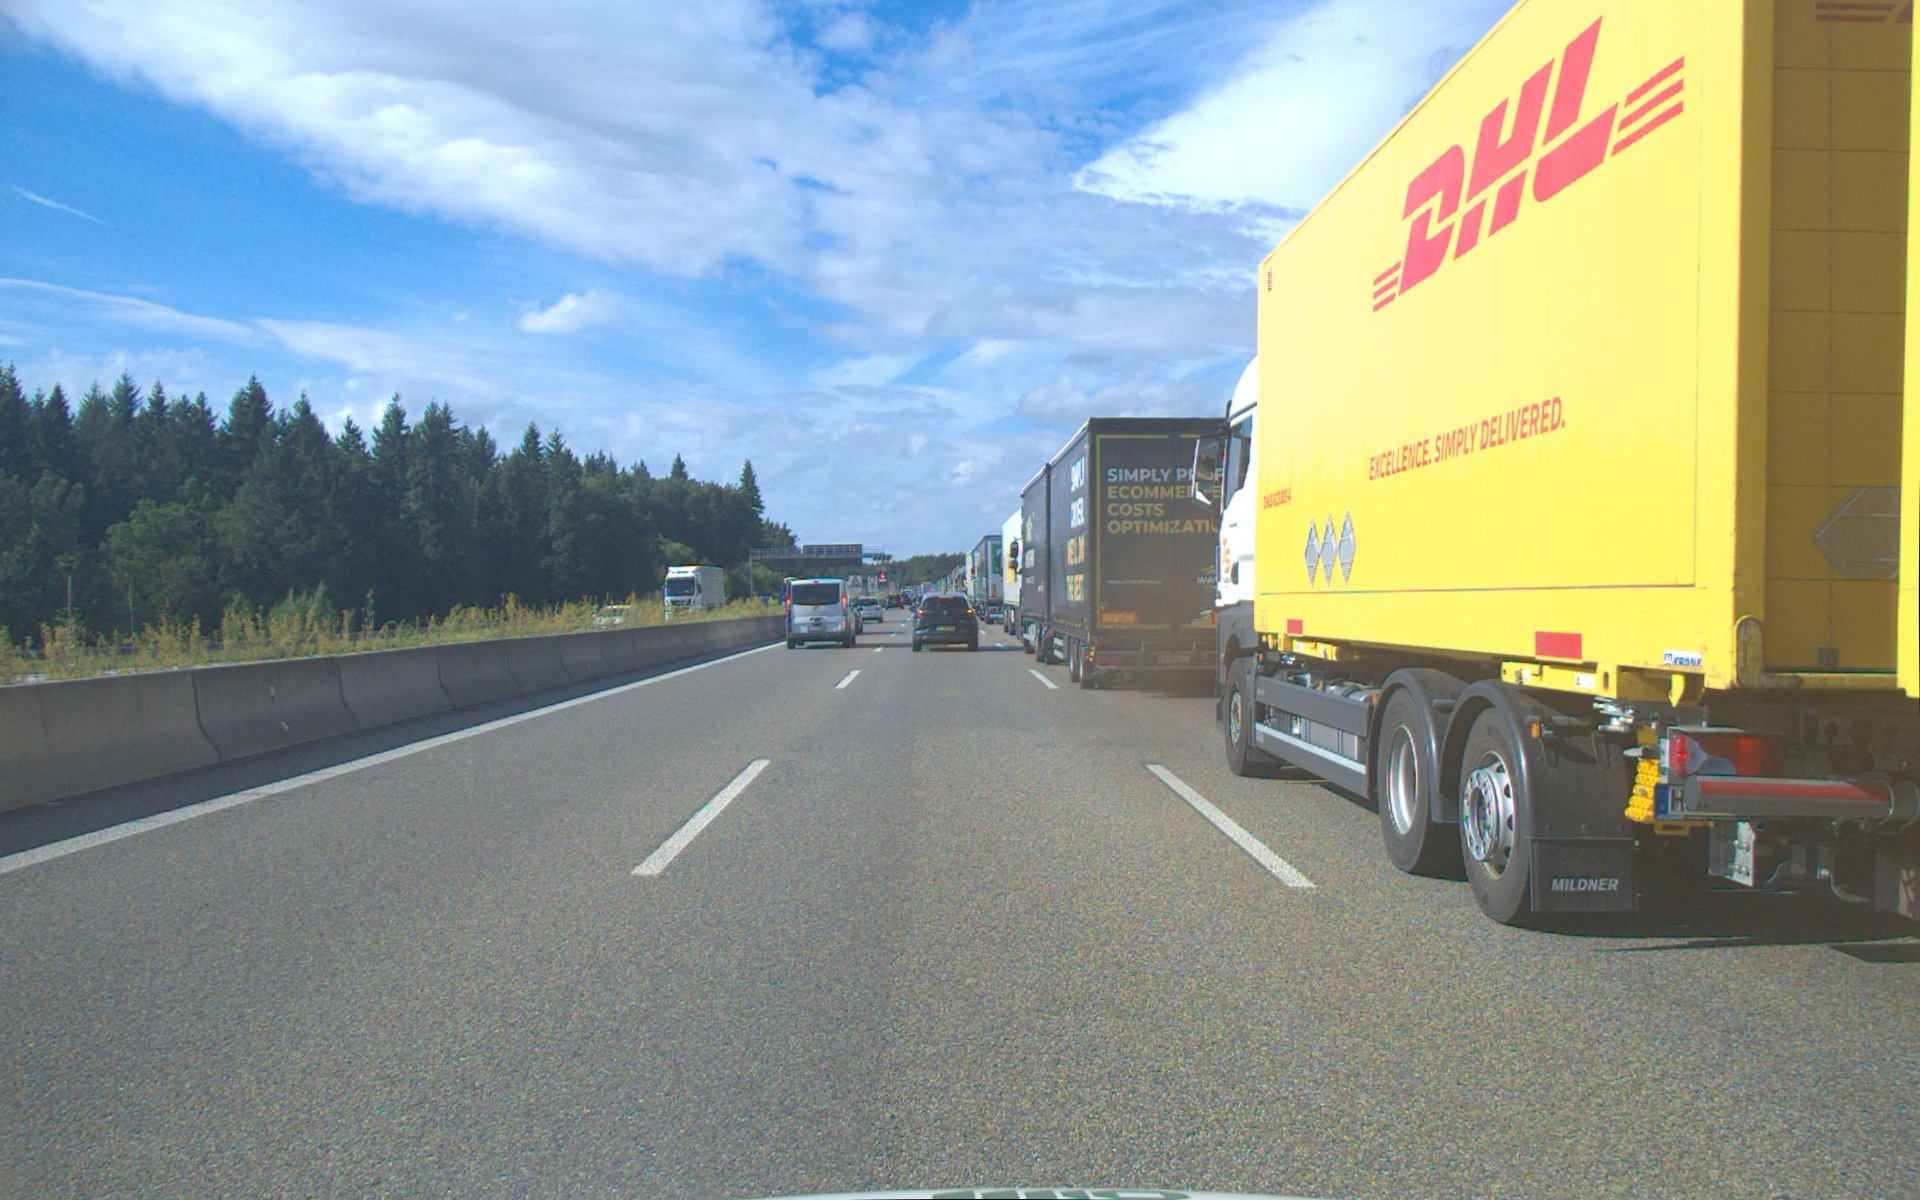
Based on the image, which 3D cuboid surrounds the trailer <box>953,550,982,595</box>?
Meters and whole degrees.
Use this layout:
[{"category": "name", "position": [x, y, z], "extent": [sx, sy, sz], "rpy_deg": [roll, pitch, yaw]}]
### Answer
[{"category": "trailer", "position": [0.759, -2.775, 172.002], "extent": [2.745, 4.318, 11.056], "rpy_deg": [-3, 0, 0]}]

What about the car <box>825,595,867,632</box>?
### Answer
[{"category": "car", "position": [-4.572, 0.531, 66.506], "extent": [1.469, 1.420, 3.475], "rpy_deg": [1, 0, -1]}]

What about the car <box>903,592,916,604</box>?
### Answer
[{"category": "car", "position": [-5.750, -0.235, 188.957], "extent": [1.406, 1.333, 3.532], "rpy_deg": [1, 0, -1]}]

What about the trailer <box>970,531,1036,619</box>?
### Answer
[{"category": "trailer", "position": [1.994, -1.138, 82.028], "extent": [2.607, 3.936, 13.392], "rpy_deg": [-2, 0, -1]}]

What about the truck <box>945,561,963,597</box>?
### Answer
[{"category": "truck", "position": [-0.721, -2.522, 201.605], "extent": [2.090, 4.356, 6.338], "rpy_deg": [-2, 0, 0]}]

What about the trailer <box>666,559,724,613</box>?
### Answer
[{"category": "trailer", "position": [-21.006, -1.063, 131.900], "extent": [2.775, 4.062, 13.544], "rpy_deg": [-1, 0, -2]}]

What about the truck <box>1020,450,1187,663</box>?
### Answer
[{"category": "truck", "position": [2.988, -0.843, 37.306], "extent": [2.685, 4.109, 10.201], "rpy_deg": [1, 0, -1]}]

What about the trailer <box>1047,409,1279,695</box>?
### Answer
[{"category": "trailer", "position": [3.122, -0.729, 27.891], "extent": [2.660, 4.030, 8.710], "rpy_deg": [1, 1, -1]}]

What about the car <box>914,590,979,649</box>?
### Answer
[{"category": "car", "position": [-0.380, 0.512, 45.180], "extent": [1.662, 1.509, 4.159], "rpy_deg": [1, 0, -1]}]

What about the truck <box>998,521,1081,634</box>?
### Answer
[{"category": "truck", "position": [2.922, -0.817, 62.177], "extent": [2.745, 4.007, 5.825], "rpy_deg": [-1, 0, 0]}]

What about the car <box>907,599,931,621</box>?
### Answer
[{"category": "car", "position": [-2.702, 0.670, 109.232], "extent": [1.549, 1.420, 3.206], "rpy_deg": [1, 0, -2]}]

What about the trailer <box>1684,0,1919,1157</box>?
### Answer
[{"category": "trailer", "position": [3.715, -0.612, 1.086], "extent": [2.363, 4.139, 8.924], "rpy_deg": [1, 0, -1]}]

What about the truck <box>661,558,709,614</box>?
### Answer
[{"category": "truck", "position": [-20.839, -1.054, 125.696], "extent": [2.762, 4.045, 5.831], "rpy_deg": [-1, 0, -2]}]

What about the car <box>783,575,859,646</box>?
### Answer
[{"category": "car", "position": [-4.127, 0.304, 49.875], "extent": [1.893, 2.013, 5.097], "rpy_deg": [1, 0, -1]}]

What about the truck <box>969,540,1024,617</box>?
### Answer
[{"category": "truck", "position": [1.896, -1.117, 89.300], "extent": [2.593, 3.936, 6.995], "rpy_deg": [-2, 0, -1]}]

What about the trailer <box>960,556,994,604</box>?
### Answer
[{"category": "trailer", "position": [1.372, -1.617, 136.499], "extent": [2.489, 3.717, 10.625], "rpy_deg": [-2, 0, -1]}]

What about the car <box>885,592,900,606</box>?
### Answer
[{"category": "car", "position": [-6.522, -0.131, 159.928], "extent": [1.406, 1.333, 3.532], "rpy_deg": [1, 0, -1]}]

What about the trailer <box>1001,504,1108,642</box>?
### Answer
[{"category": "trailer", "position": [2.944, -0.798, 55.170], "extent": [2.735, 4.007, 13.068], "rpy_deg": [-1, 0, 0]}]

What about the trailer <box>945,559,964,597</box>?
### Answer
[{"category": "trailer", "position": [-0.684, -2.544, 197.470], "extent": [2.106, 4.333, 8.439], "rpy_deg": [-2, 0, 0]}]

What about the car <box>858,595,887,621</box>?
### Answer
[{"category": "car", "position": [-4.927, 0.435, 93.700], "extent": [1.469, 1.420, 3.475], "rpy_deg": [1, 0, -1]}]

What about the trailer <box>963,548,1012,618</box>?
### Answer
[{"category": "trailer", "position": [1.699, -1.108, 108.195], "extent": [2.648, 4.153, 12.942], "rpy_deg": [-3, 0, -1]}]

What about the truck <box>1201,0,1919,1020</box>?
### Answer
[{"category": "truck", "position": [3.528, -0.679, 10.415], "extent": [2.363, 4.139, 9.662], "rpy_deg": [1, 0, -1]}]

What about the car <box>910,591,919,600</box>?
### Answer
[{"category": "car", "position": [-6.840, -0.665, 251.245], "extent": [1.333, 1.324, 3.084], "rpy_deg": [1, 0, -1]}]
